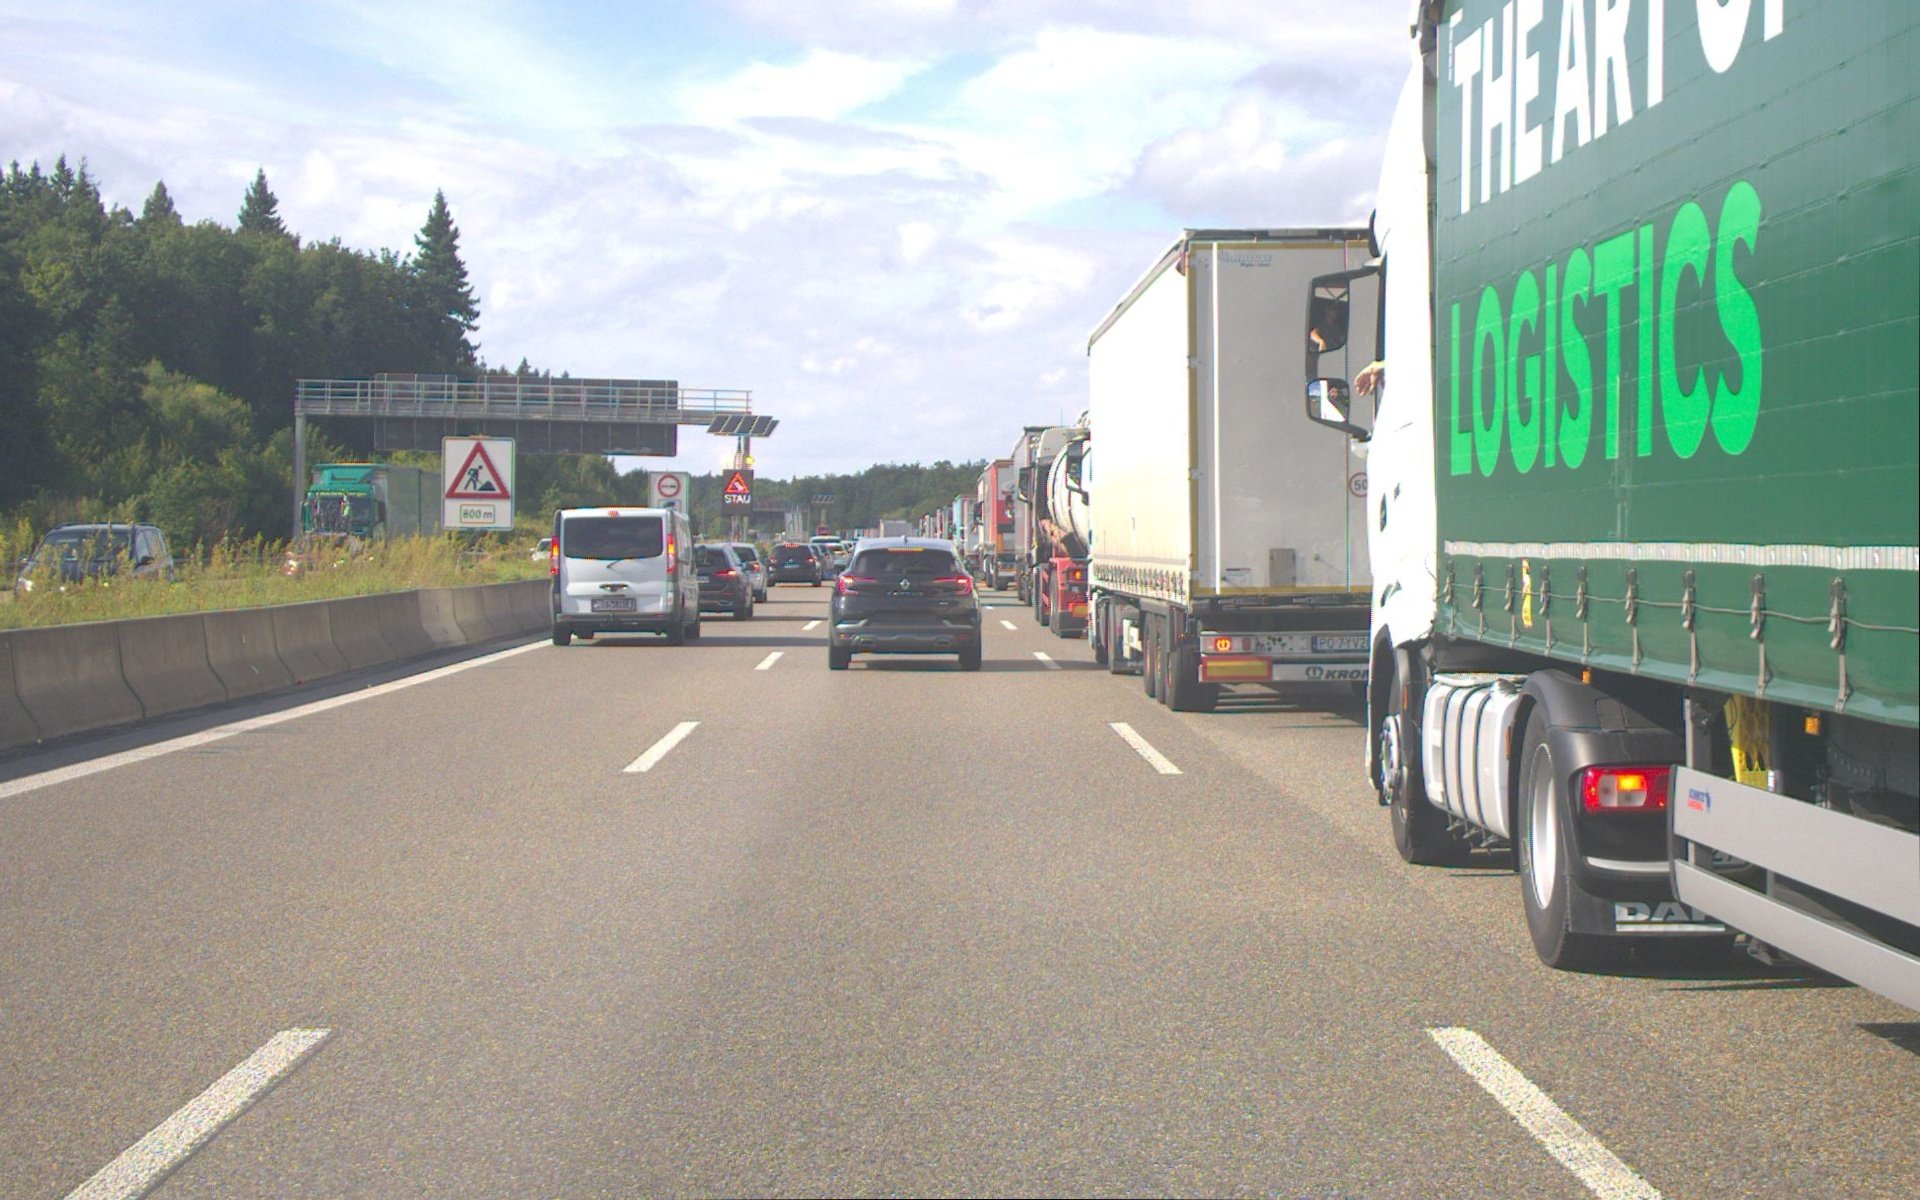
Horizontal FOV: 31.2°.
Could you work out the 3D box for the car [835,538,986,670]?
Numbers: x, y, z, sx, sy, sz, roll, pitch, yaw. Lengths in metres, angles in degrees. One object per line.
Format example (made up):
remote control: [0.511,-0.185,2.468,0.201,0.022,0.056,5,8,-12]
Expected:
car: [-0.592,0.023,41.255,1.696,1.478,4.160,1,0,-1]

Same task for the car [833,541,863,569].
car: [-5.484,-2.192,168.857,1.361,1.296,3.085,3,1,-1]

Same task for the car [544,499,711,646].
car: [-4.882,-0.420,51.054,1.933,1.972,5.099,3,1,-1]

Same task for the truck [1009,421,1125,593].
truck: [2.663,-2.315,87.538,2.786,4.232,6.459,0,1,0]

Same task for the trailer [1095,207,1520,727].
trailer: [2.980,-1.159,33.445,2.703,4.068,12.945,0,1,0]

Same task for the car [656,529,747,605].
car: [-4.909,-0.634,65.559,1.500,1.391,3.476,1,1,-1]

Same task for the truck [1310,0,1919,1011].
truck: [3.256,-0.591,15.010,2.647,3.855,6.996,1,1,0]

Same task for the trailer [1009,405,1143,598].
trailer: [2.627,-2.214,80.871,2.802,4.229,11.057,0,1,0]

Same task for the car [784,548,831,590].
car: [-5.134,-1.053,115.915,1.434,1.305,3.533,3,1,-1]

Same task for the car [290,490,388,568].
car: [-16.193,-1.833,89.819,1.760,1.875,4.000,3,1,-1]

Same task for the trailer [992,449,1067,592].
trailer: [2.122,-2.430,107.359,2.150,4.244,8.440,1,1,0]

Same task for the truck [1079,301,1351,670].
truck: [2.912,-1.293,40.945,2.708,4.046,6.362,0,1,0]

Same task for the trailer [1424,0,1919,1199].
trailer: [3.320,-0.517,7.493,2.661,3.855,13.395,1,1,0]

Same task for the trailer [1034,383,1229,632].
trailer: [2.627,-1.415,55.696,2.541,3.641,10.627,0,1,0]

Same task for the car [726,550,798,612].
car: [-4.805,-0.469,83.759,1.500,1.391,3.476,3,1,-1]

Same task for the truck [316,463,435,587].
truck: [-20.724,-2.627,122.433,2.711,4.229,10.345,0,1,-1]

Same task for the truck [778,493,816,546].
truck: [-11.770,-5.796,248.365,2.344,3.582,6.306,3,1,-1]

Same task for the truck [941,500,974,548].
truck: [-0.144,-5.008,227.808,1.993,3.042,4.981,3,1,0]

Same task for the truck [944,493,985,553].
truck: [0.221,-4.101,184.129,1.993,3.042,4.981,3,1,0]

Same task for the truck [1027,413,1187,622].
truck: [2.585,-1.459,62.365,2.533,3.571,6.730,0,1,-1]

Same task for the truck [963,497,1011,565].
truck: [1.221,-3.144,157.369,1.993,2.922,4.981,3,1,0]
